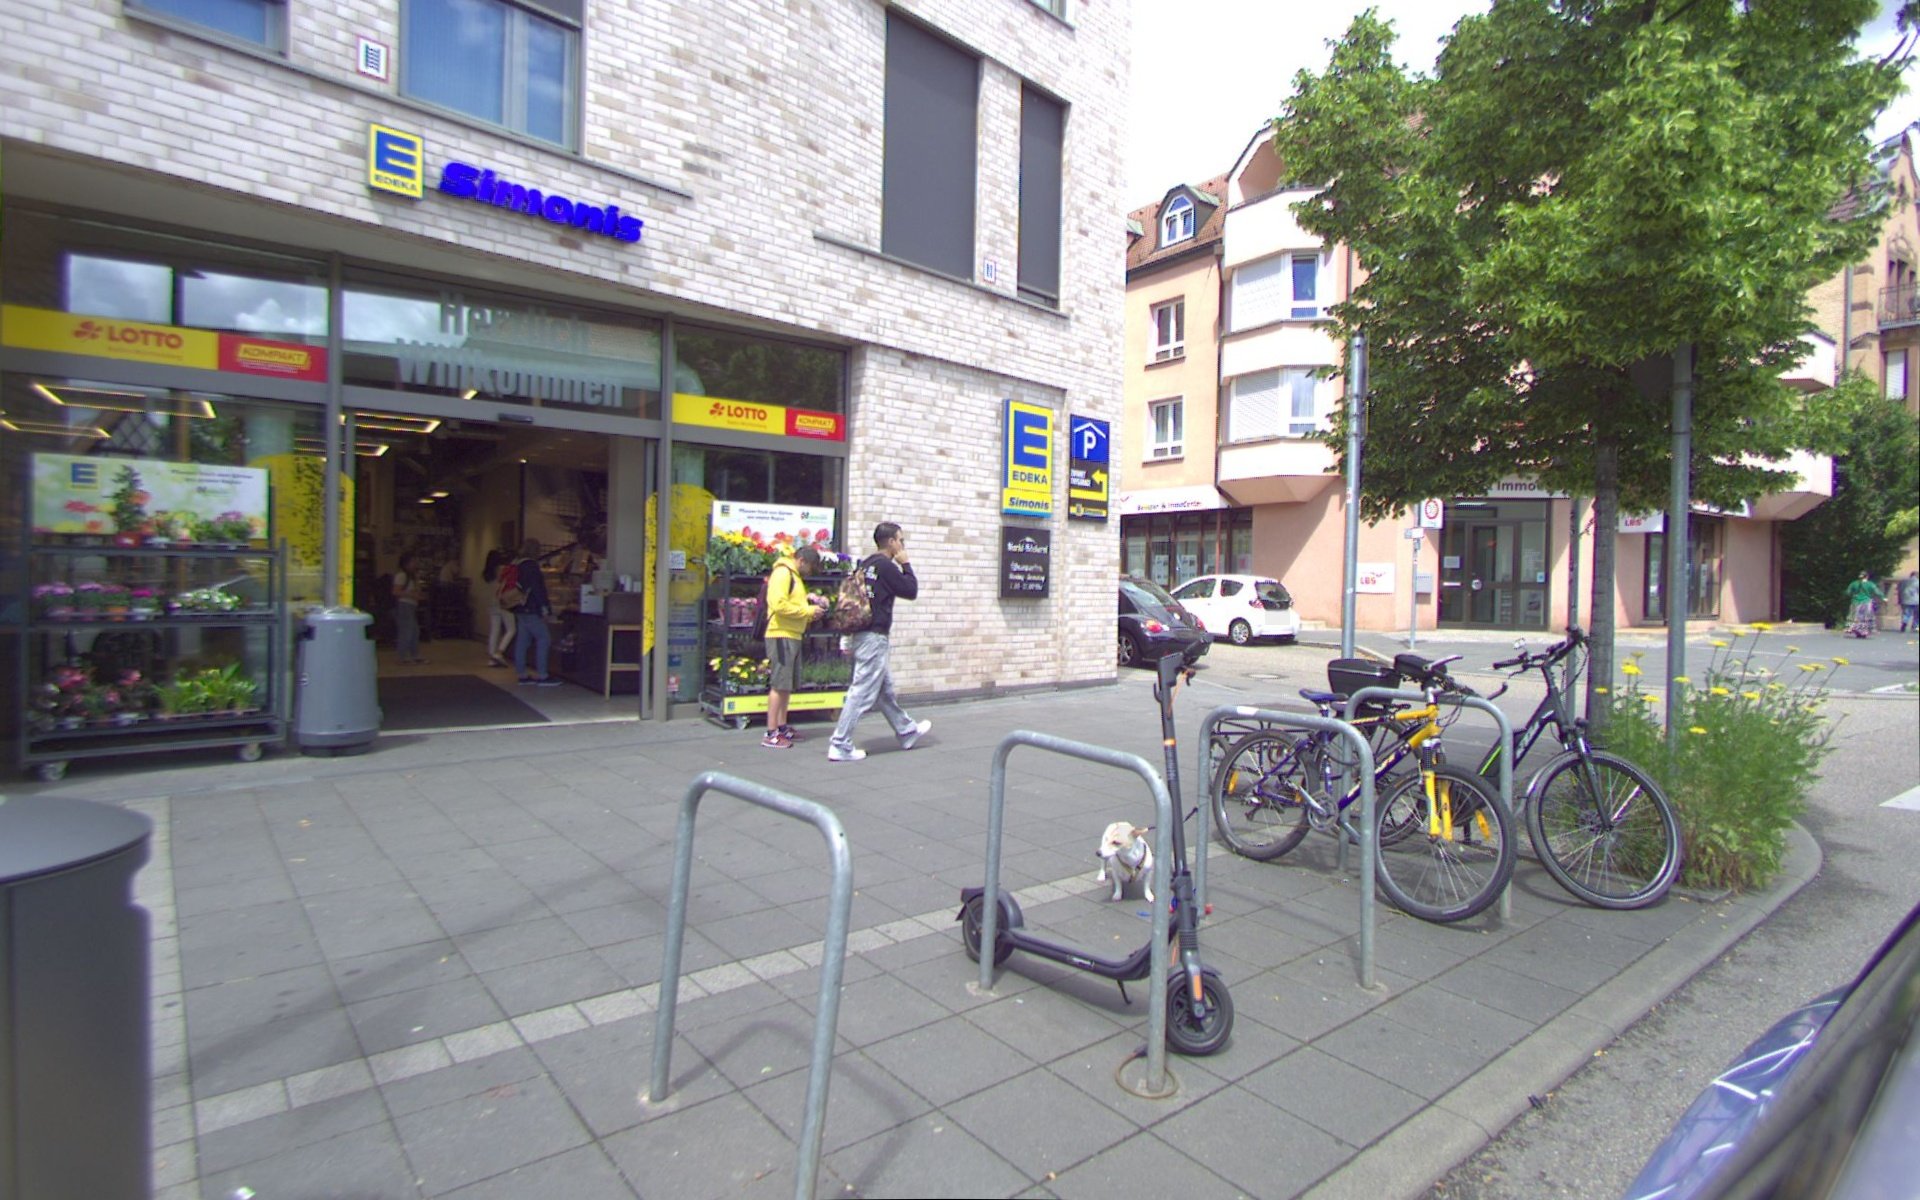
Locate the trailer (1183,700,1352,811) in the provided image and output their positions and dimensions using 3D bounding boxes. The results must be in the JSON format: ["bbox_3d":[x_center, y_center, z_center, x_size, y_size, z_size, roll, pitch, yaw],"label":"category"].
[{"bbox_3d":[1.995,0.982,6.584,0.796,0.535,0.722,-1,1,-35],"label":"trailer"}]

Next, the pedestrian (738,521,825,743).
[{"bbox_3d":[-1.427,0.243,8.165,0.619,1.713,0.660,1,1,-4],"label":"pedestrian"}]

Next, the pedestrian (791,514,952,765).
[{"bbox_3d":[-0.665,0.262,7.656,1.000,1.763,0.659,0,2,-40],"label":"pedestrian"}]

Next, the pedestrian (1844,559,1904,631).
[{"bbox_3d":[21.687,-0.129,24.017,0.909,1.659,0.747,0,3,-33],"label":"pedestrian"}]

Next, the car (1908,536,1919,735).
[{"bbox_3d":[10.425,0.364,7.691,1.967,2.039,5.380,-1,0,9],"label":"car"}]

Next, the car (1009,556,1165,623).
[{"bbox_3d":[3.168,-0.320,25.973,1.796,1.495,4.026,0,3,-33],"label":"car"}]

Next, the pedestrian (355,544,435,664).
[{"bbox_3d":[-7.748,0.040,13.890,0.675,1.580,0.703,1,1,23],"label":"pedestrian"}]

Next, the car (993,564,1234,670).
[{"bbox_3d":[2.512,0.193,17.319,1.751,1.495,3.904,0,3,-39],"label":"car"}]

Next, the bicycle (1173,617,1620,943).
[{"bbox_3d":[1.996,0.719,4.884,0.742,1.145,1.828,-1,3,-38],"label":"bicycle"}]

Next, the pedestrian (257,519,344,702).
[{"bbox_3d":[-6.432,0.085,9.901,0.646,1.713,0.684,0,1,-28],"label":"pedestrian"}]

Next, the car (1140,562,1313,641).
[{"bbox_3d":[5.740,-0.023,22.122,1.685,1.495,3.395,0,3,-33],"label":"car"}]

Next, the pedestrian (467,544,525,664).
[{"bbox_3d":[-6.440,0.044,14.057,0.592,1.627,0.519,-2,1,-38],"label":"pedestrian"}]

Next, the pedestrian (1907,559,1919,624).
[{"bbox_3d":[25.635,-0.223,26.720,0.927,1.706,0.718,-2,3,-35],"label":"pedestrian"}]

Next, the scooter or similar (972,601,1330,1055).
[{"bbox_3d":[0.614,0.669,3.571,0.485,1.265,1.200,-1,3,-38],"label":"scooter or similar"}]

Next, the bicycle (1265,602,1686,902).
[{"bbox_3d":[2.630,0.669,5.373,0.742,1.215,1.828,-1,3,-38],"label":"bicycle"}]

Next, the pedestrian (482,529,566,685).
[{"bbox_3d":[-5.103,0.061,11.838,0.726,1.748,0.661,-2,1,-38],"label":"pedestrian"}]
